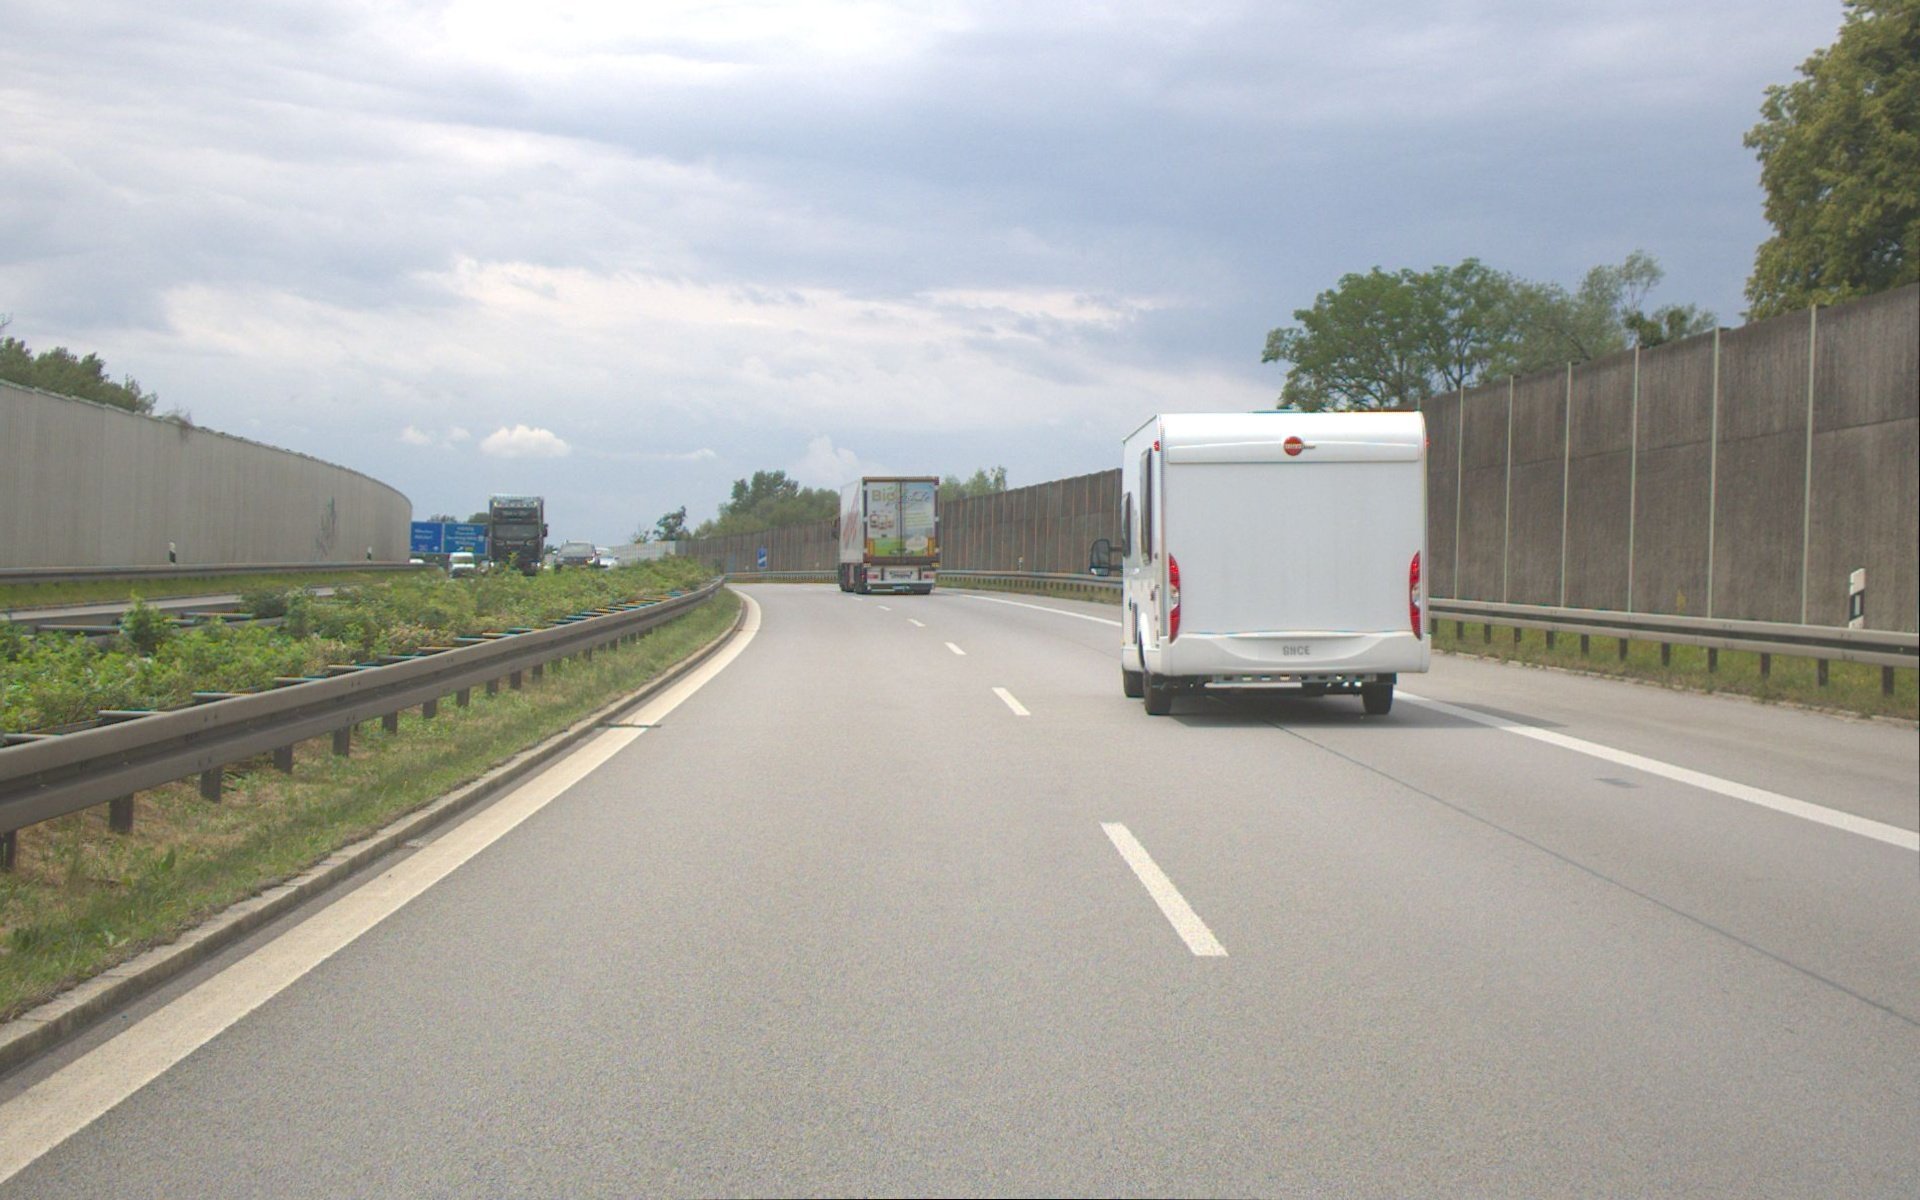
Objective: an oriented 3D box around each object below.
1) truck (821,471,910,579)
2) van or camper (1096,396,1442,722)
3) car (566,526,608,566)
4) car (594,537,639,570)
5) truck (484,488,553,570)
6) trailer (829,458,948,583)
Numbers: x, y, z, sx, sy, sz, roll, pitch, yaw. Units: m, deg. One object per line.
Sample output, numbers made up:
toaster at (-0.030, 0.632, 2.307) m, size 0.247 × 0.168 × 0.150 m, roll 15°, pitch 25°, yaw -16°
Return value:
truck at (-3.586, -2.768, 129.301) m, size 2.755 × 3.946 × 5.678 m, roll 0°, pitch 0°, yaw -7°
van or camper at (2.716, -0.398, 32.244) m, size 2.429 × 2.687 × 7.226 m, roll 1°, pitch 1°, yaw -1°
car at (-15.632, -2.253, 144.028) m, size 1.715 × 1.636 × 4.705 m, roll 0°, pitch 1°, yaw -6°
car at (-16.774, -2.270, 167.843) m, size 1.931 × 1.543 × 4.567 m, roll 0°, pitch 1°, yaw -3°
truck at (-21.097, -3.385, 164.445) m, size 2.873 × 3.845 × 6.076 m, roll -1°, pitch 1°, yaw -4°
trailer at (-2.679, -2.809, 122.894) m, size 2.792 × 4.160 × 14.107 m, roll 1°, pitch 1°, yaw -7°
